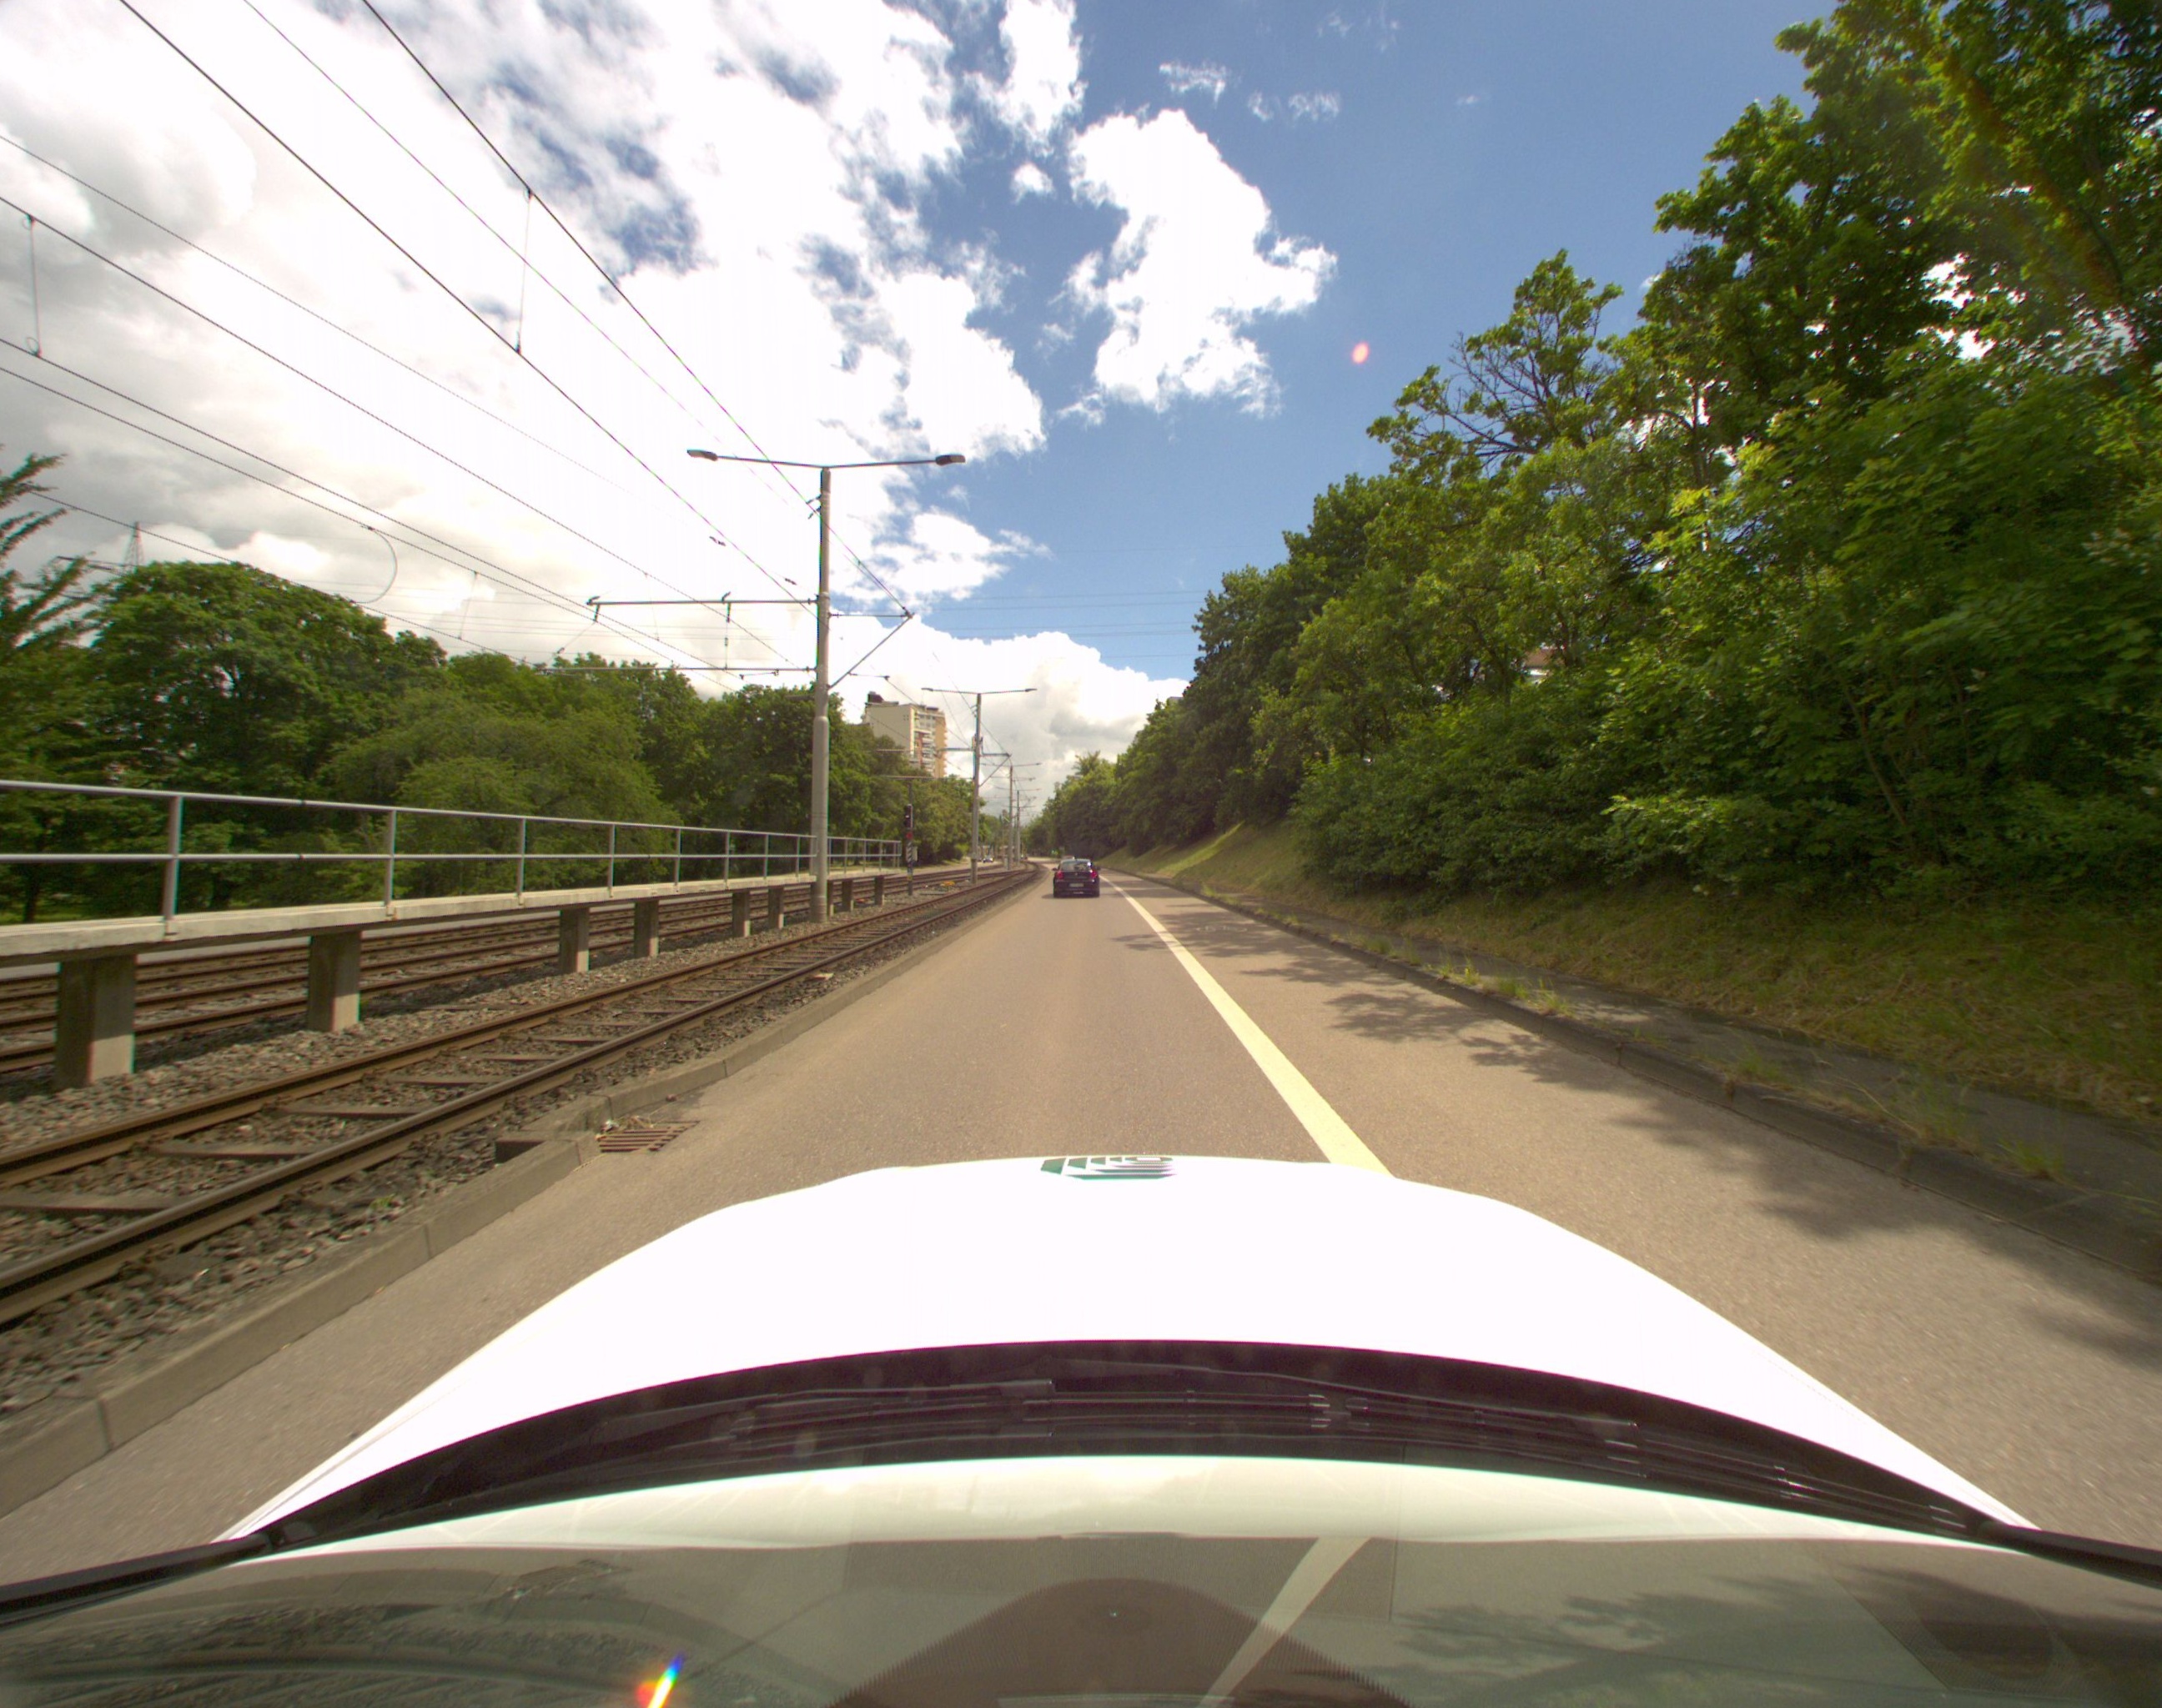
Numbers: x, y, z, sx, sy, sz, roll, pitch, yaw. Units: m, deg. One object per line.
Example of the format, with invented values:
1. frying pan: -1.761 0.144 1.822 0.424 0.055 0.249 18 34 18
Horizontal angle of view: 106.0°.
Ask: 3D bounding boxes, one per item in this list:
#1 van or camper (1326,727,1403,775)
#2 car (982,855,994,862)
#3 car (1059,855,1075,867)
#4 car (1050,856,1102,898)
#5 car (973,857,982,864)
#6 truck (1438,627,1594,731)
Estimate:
1. van or camper: 16.767 -6.073 48.599 2.211 2.069 6.155 -1 0 -3
2. car: -17.894 0.846 157.486 1.830 1.391 4.859 -2 0 -1
3. car: -1.701 0.800 96.980 1.777 1.459 3.917 0 0 -3
4. car: -0.252 0.839 31.115 1.777 1.459 3.916 -1 0 -3
5. car: -22.246 1.450 174.910 1.773 1.498 3.987 0 0 -7
6. truck: 17.243 -6.853 32.911 2.344 2.658 7.034 -1 0 -2
